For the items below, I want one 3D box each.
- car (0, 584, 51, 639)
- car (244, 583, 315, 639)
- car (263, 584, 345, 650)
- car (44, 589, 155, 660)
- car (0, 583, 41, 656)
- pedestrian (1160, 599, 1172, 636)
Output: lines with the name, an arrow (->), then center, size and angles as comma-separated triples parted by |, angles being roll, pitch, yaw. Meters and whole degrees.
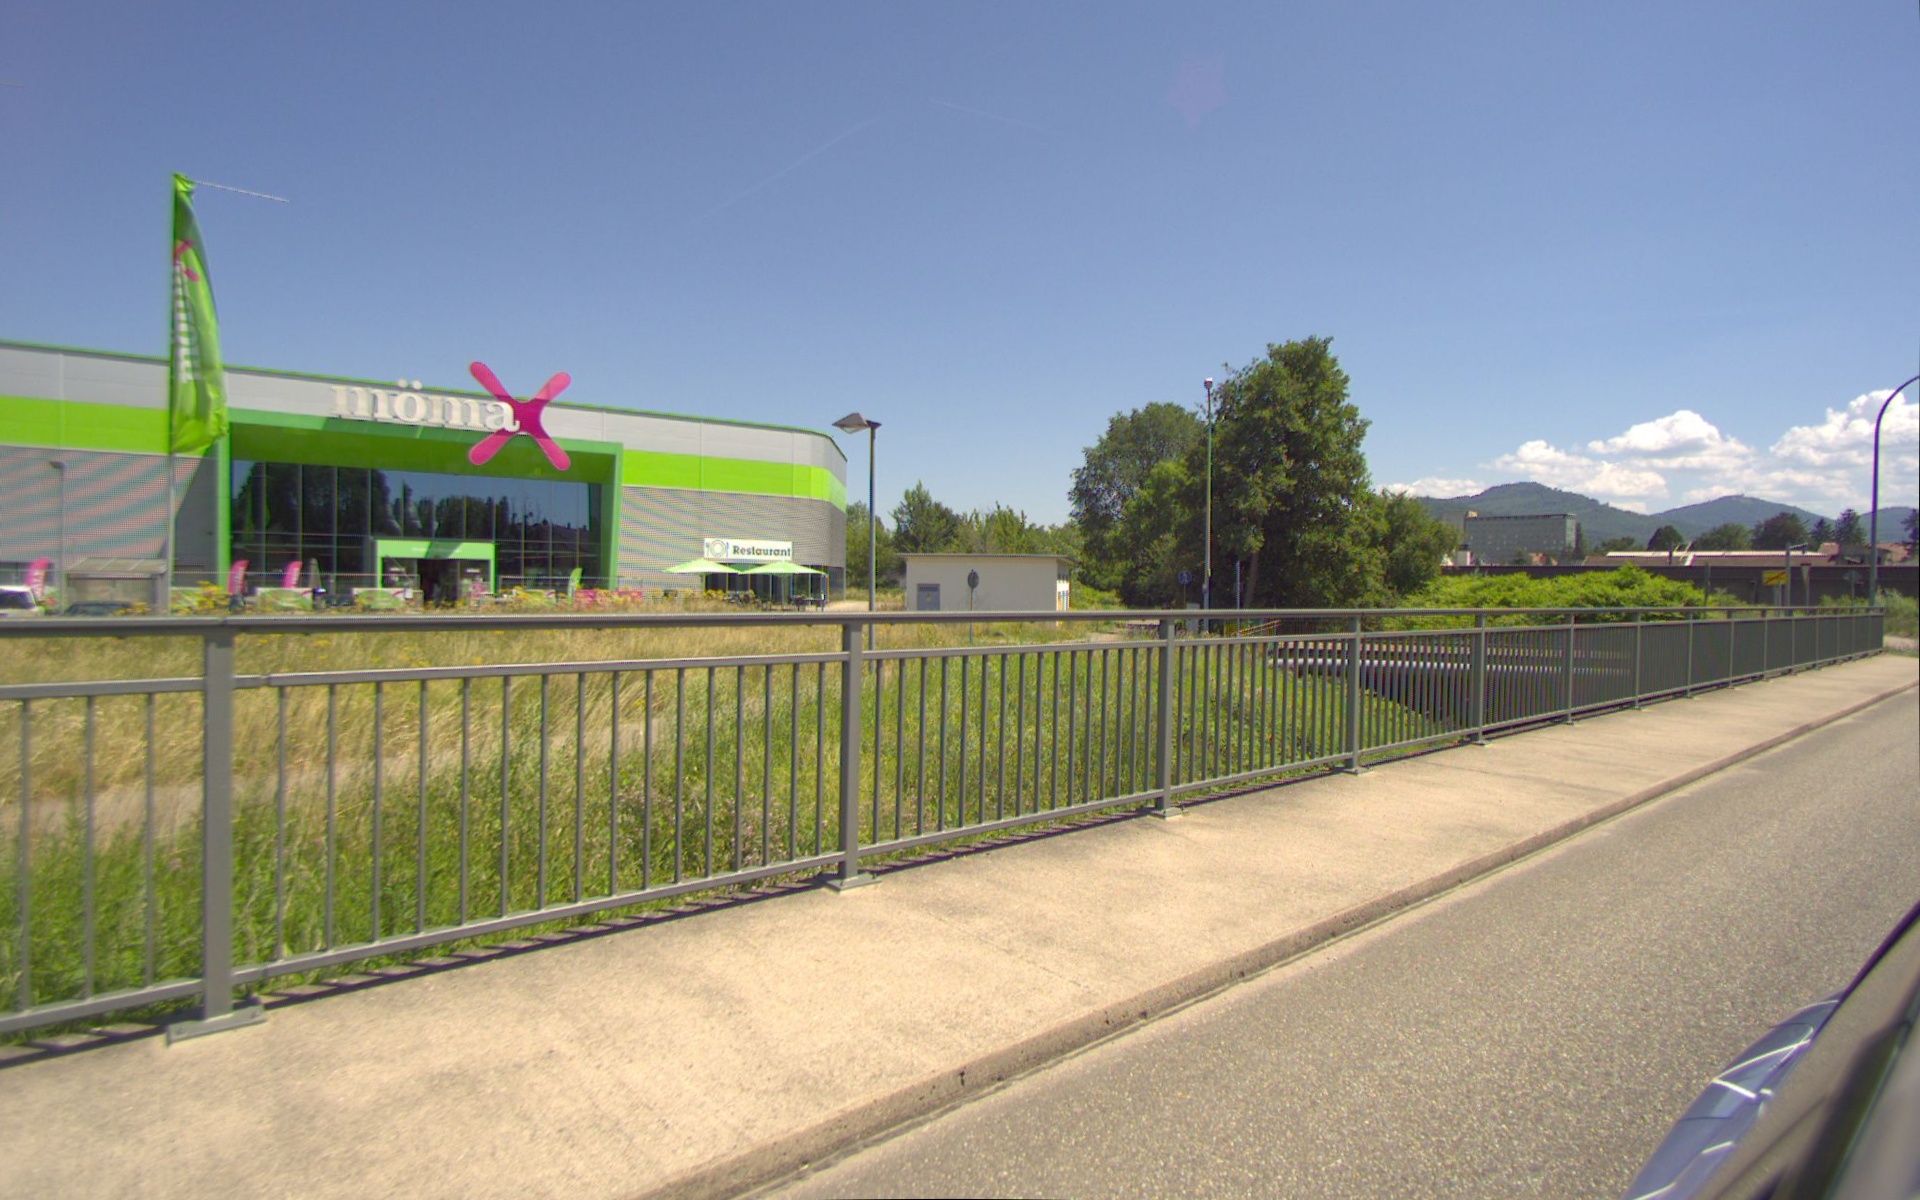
car -> -30.338, 0.336, 31.925 | 1.910, 1.523, 4.002 | -1, 3, -34
car -> -23.182, 0.314, 34.505 | 1.879, 1.674, 4.002 | -1, 3, -34
car -> -19.295, 0.424, 29.745 | 1.879, 1.674, 4.002 | -1, 3, -34
car -> -23.640, 0.603, 27.948 | 1.879, 1.674, 4.002 | -1, 3, -34
car -> -25.707, 0.484, 26.462 | 1.879, 1.717, 4.002 | -1, 3, -34
pedestrian -> 8.724, 0.733, 42.911 | 0.433, 1.558, 0.410 | 0, -2, 23
